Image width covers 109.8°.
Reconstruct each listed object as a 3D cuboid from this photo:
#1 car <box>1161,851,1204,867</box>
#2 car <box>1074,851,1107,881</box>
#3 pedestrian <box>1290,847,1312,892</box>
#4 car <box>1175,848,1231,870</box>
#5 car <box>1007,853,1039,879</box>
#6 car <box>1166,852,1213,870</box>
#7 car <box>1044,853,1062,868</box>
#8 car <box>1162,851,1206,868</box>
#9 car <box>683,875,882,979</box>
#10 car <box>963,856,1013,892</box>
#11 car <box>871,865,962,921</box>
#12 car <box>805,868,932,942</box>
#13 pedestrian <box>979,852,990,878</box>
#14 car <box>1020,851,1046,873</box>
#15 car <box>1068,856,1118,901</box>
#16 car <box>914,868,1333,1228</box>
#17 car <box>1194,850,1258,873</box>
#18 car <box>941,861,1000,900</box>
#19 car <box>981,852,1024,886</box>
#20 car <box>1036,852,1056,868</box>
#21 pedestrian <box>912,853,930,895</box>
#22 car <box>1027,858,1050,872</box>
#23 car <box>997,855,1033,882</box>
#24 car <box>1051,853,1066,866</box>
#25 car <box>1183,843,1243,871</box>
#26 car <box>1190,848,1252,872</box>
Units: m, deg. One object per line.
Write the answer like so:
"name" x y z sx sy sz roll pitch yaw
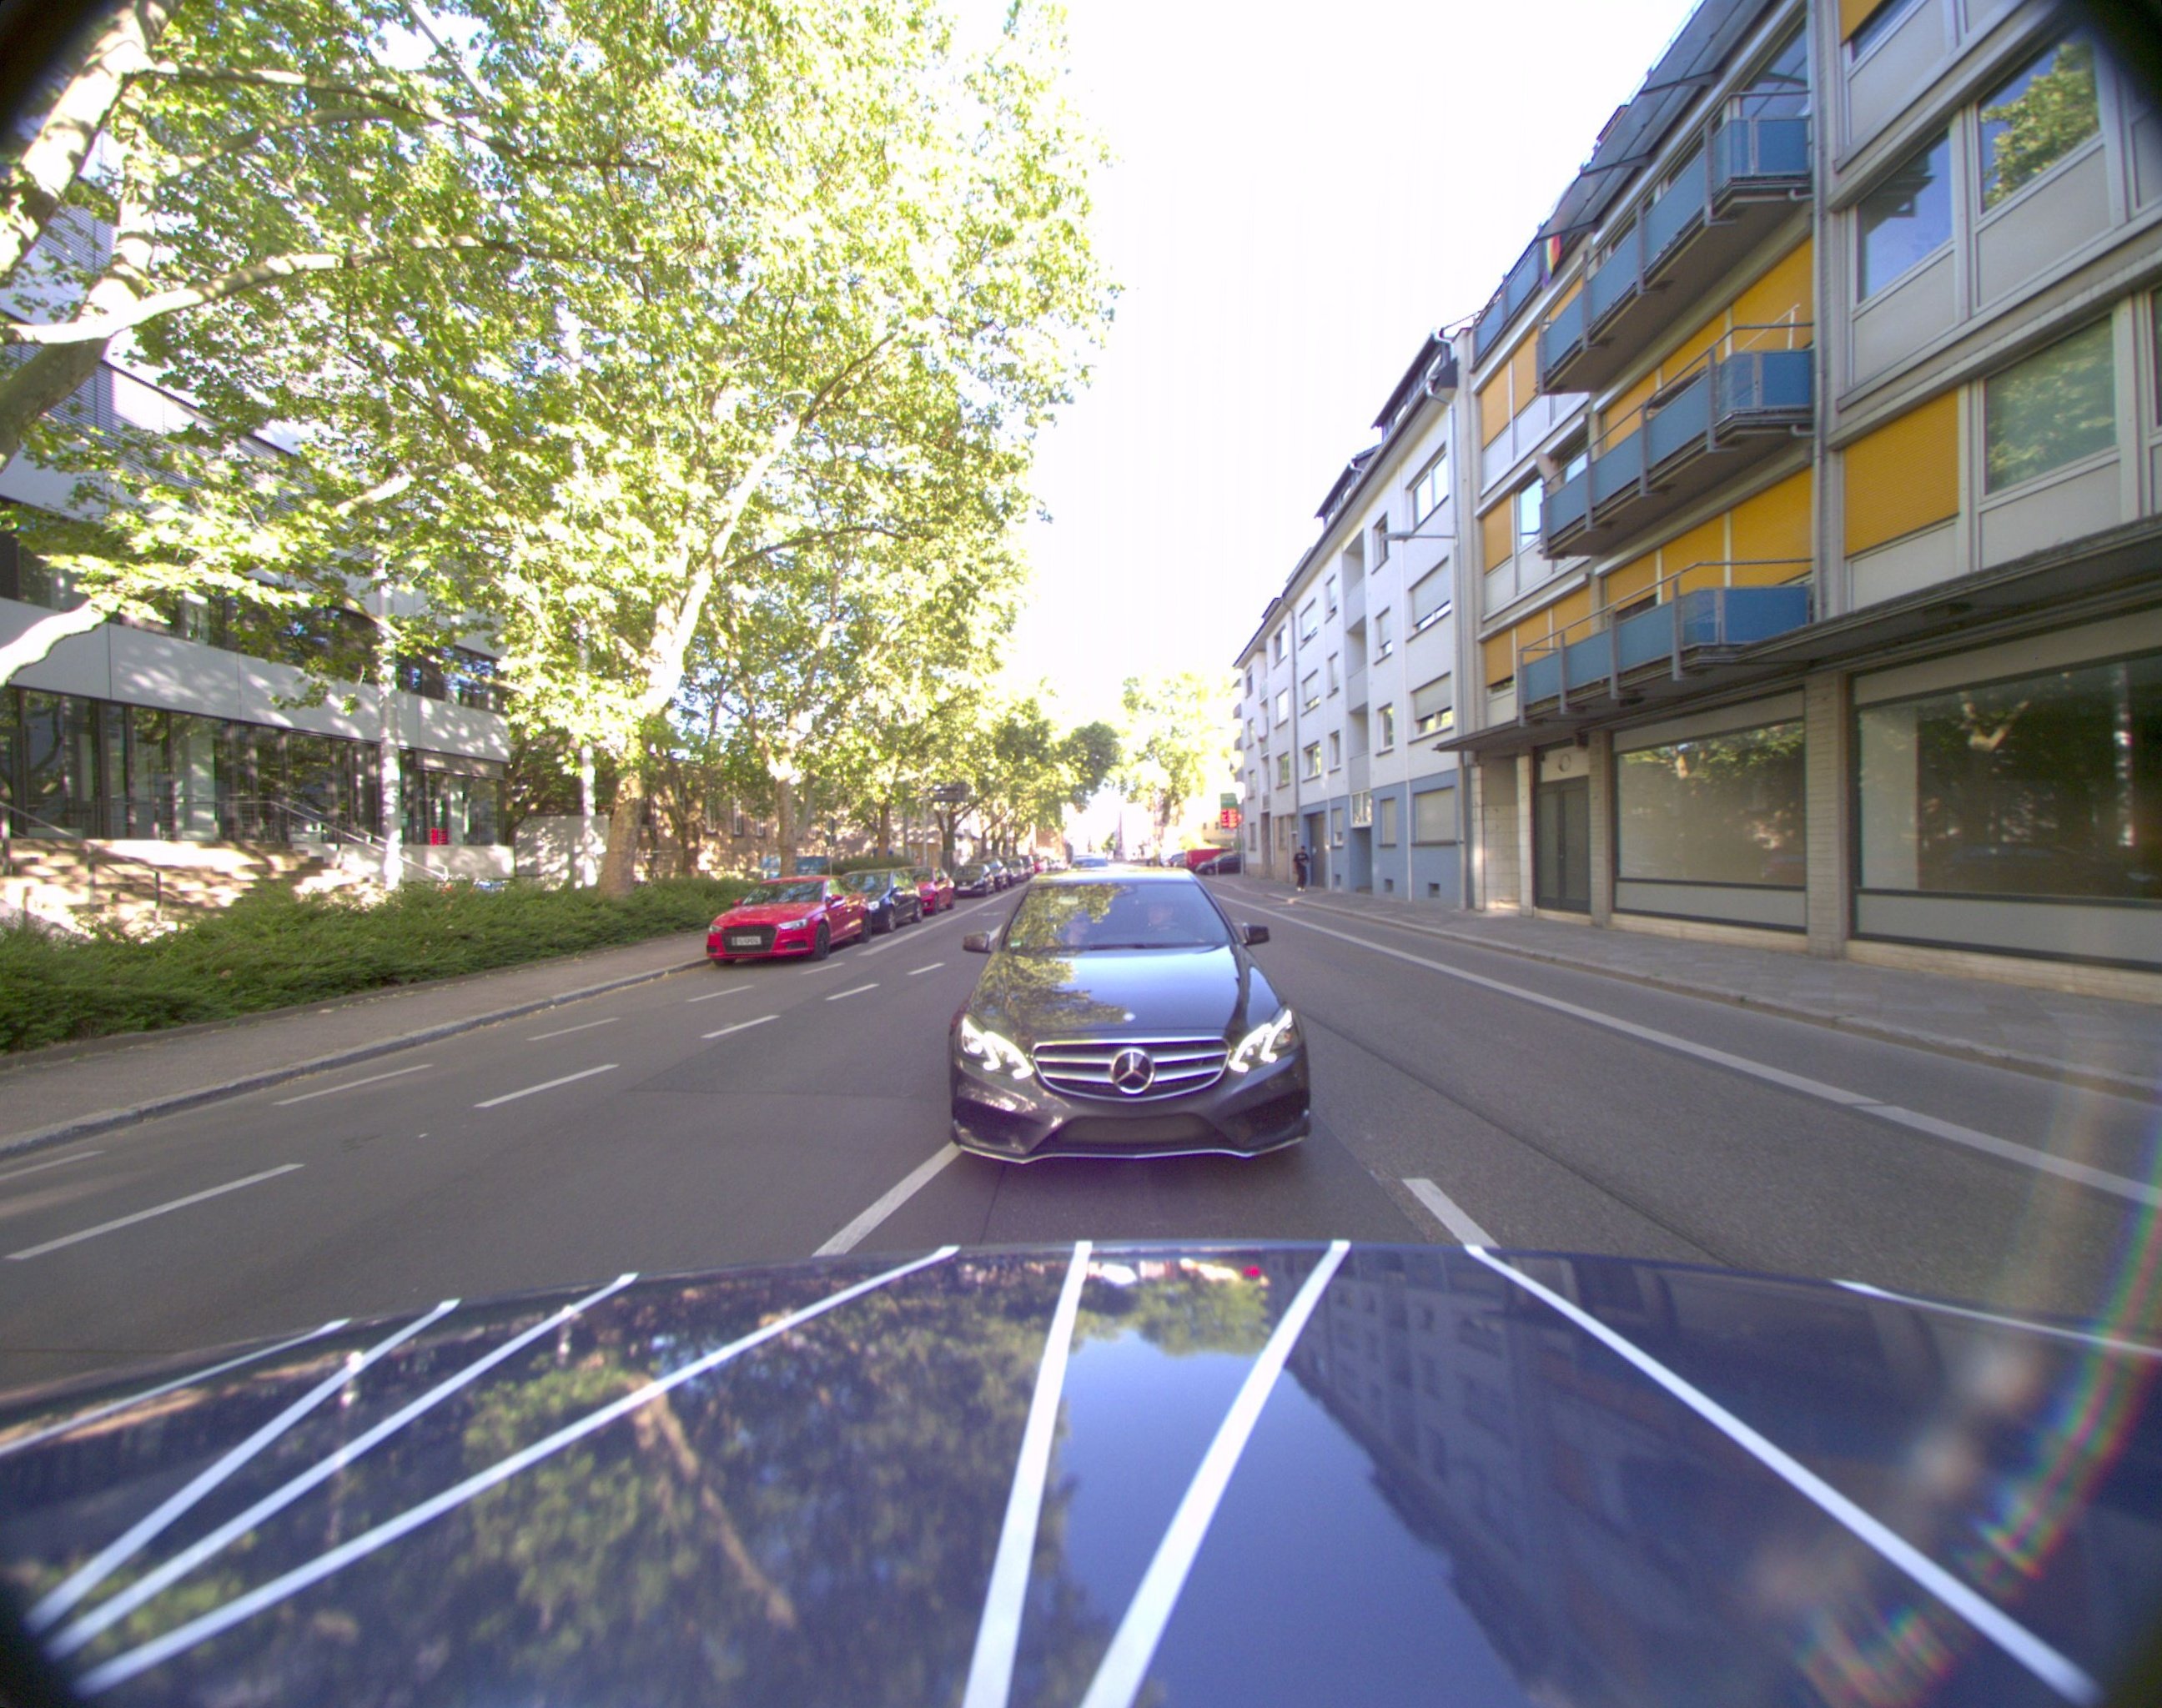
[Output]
"car" 10.776 0.517 80.612 4.255 1.461 1.653 -4 0 1
"car" 0.588 0.709 47.059 1.908 1.678 4.813 -2 0 1
"pedestrian" 8.397 0.571 28.991 0.612 1.685 0.655 -2 1 1
"car" 10.052 0.410 62.709 4.255 1.461 1.653 -4 0 1
"car" -4.179 0.812 55.638 1.835 1.750 4.259 -2 0 1
"car" 10.433 0.675 73.190 4.255 1.461 1.653 -4 0 1
"car" -3.409 0.787 92.841 1.835 1.667 4.259 -2 0 1
"car" 10.604 0.543 78.648 4.255 1.461 1.653 -4 0 1
"car" -5.132 1.176 13.768 1.835 1.396 4.247 -2 0 1
"car" -4.598 0.964 38.073 1.835 1.596 4.161 -2 0 1
"car" -5.044 1.134 23.839 1.835 1.459 4.168 -2 0 1
"car" -5.043 1.149 18.629 1.835 1.438 4.168 -2 0 1
"pedestrian" -6.760 0.768 53.182 0.660 1.849 0.641 -2 1 1
"car" -4.145 0.682 66.345 1.835 1.839 4.259 -2 0 1
"car" 0.456 0.857 28.888 1.726 1.530 4.000 -1 0 1
"car" 0.222 0.917 5.569 1.849 1.490 4.302 -1 0 1
"car" 10.400 0.520 54.745 4.255 1.392 1.653 -4 0 1
"car" -4.747 1.103 33.175 1.835 1.459 4.168 -2 0 1
"car" -4.511 0.822 44.113 1.835 1.787 4.463 -2 0 1
"car" -3.937 0.669 86.225 1.835 1.667 4.259 -2 0 1
"pedestrian" -6.891 0.869 32.694 0.601 1.785 0.593 -2 1 0
"car" -3.990 1.027 71.786 1.835 1.220 4.259 -2 0 1
"car" -4.338 0.947 50.606 1.835 1.604 4.259 -2 0 1
"car" -3.044 0.686 102.947 1.835 1.667 4.259 -2 0 1
"car" 10.415 0.224 60.127 4.255 1.907 1.818 -4 0 0
"car" 10.484 0.456 57.047 4.255 1.461 1.653 -4 0 1
